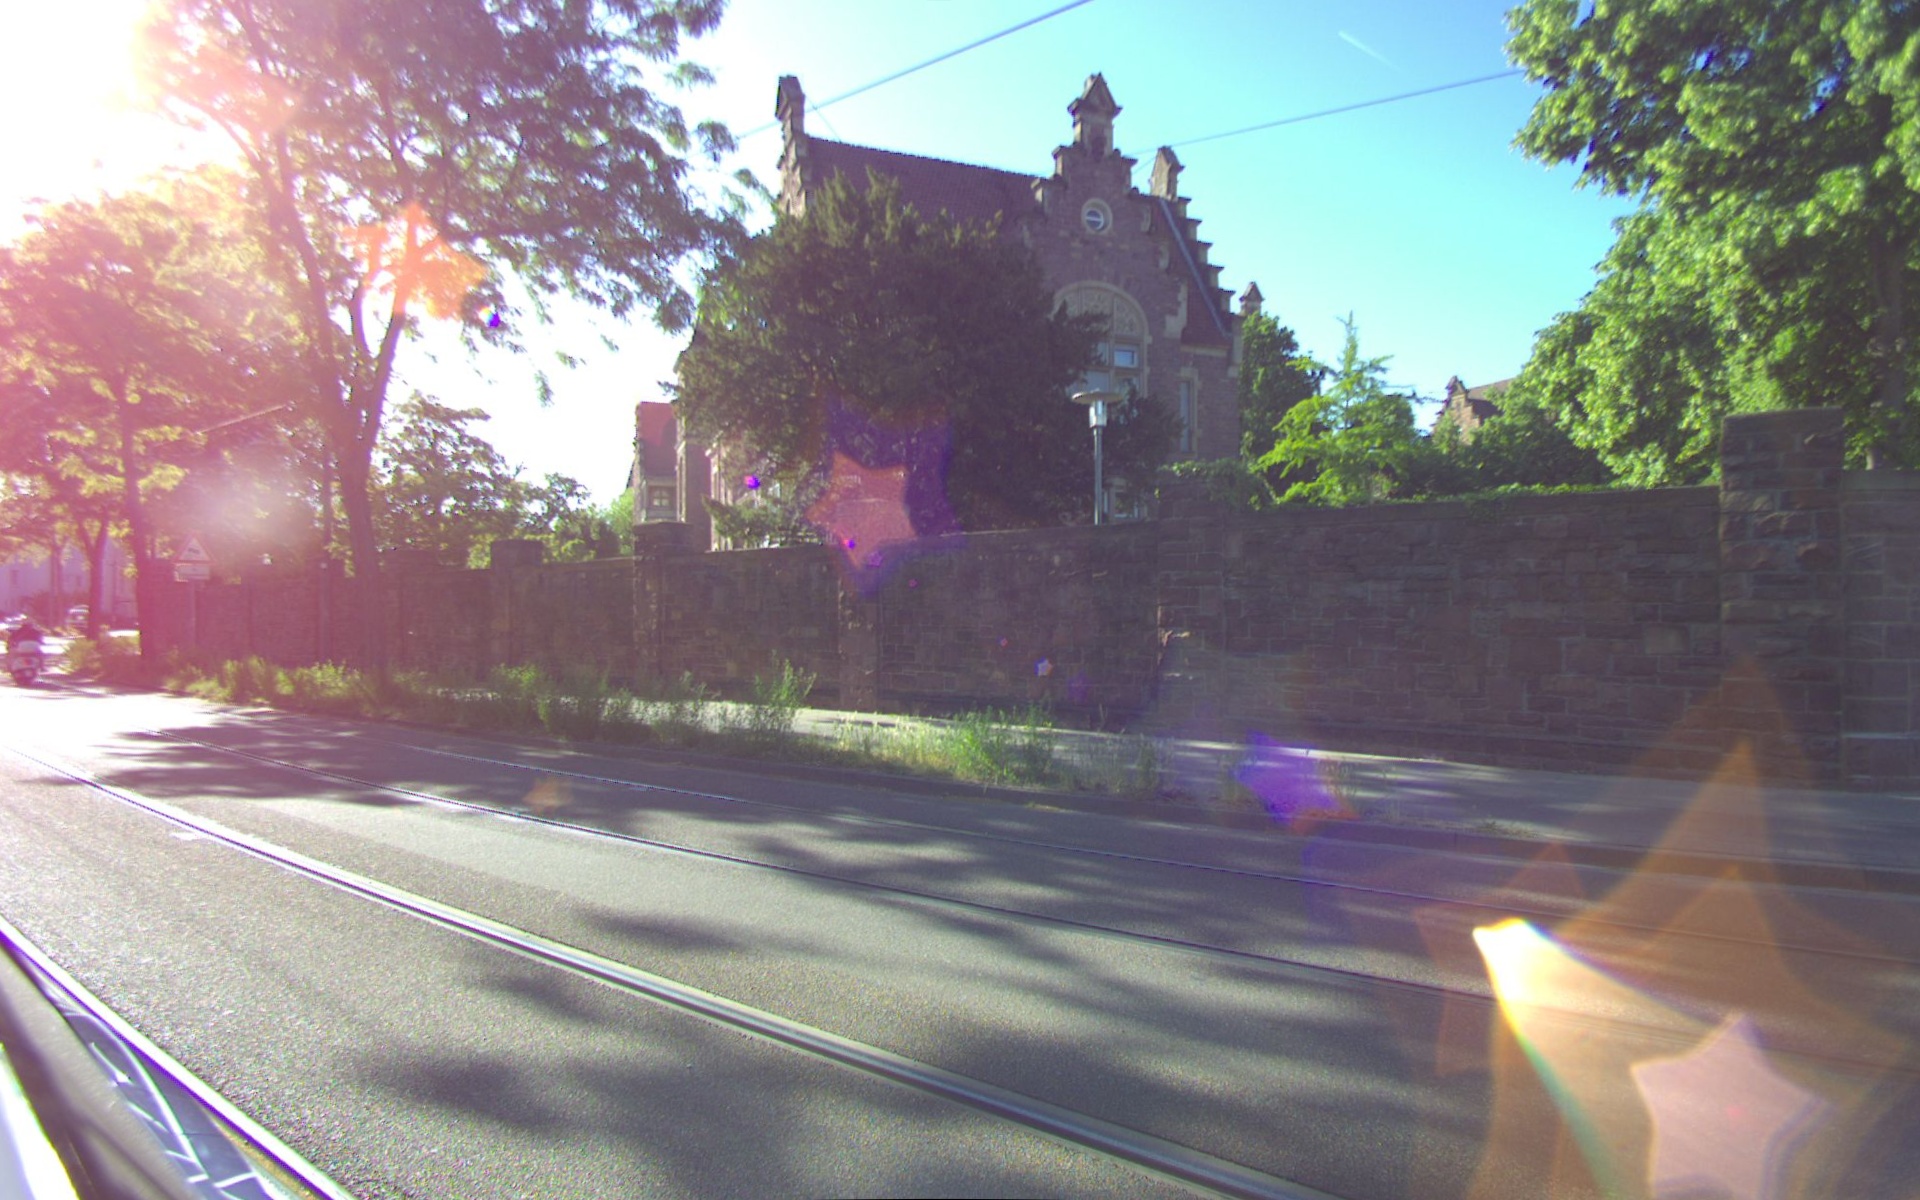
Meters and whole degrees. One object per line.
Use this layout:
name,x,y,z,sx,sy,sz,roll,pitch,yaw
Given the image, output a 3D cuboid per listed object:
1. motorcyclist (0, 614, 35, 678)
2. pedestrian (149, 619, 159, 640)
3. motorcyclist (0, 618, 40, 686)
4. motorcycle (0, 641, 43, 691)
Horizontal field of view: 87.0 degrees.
motorcyclist,-22.003,1.066,23.516,0.445,1.451,0.678,-1,-1,34
pedestrian,-88.884,3.246,111.563,0.756,2.385,0.928,-1,0,-34
motorcyclist,-21.581,1.188,23.216,0.464,1.527,0.602,-1,-1,32
motorcycle,-21.978,1.509,23.473,1.851,1.101,0.604,-1,-1,33
